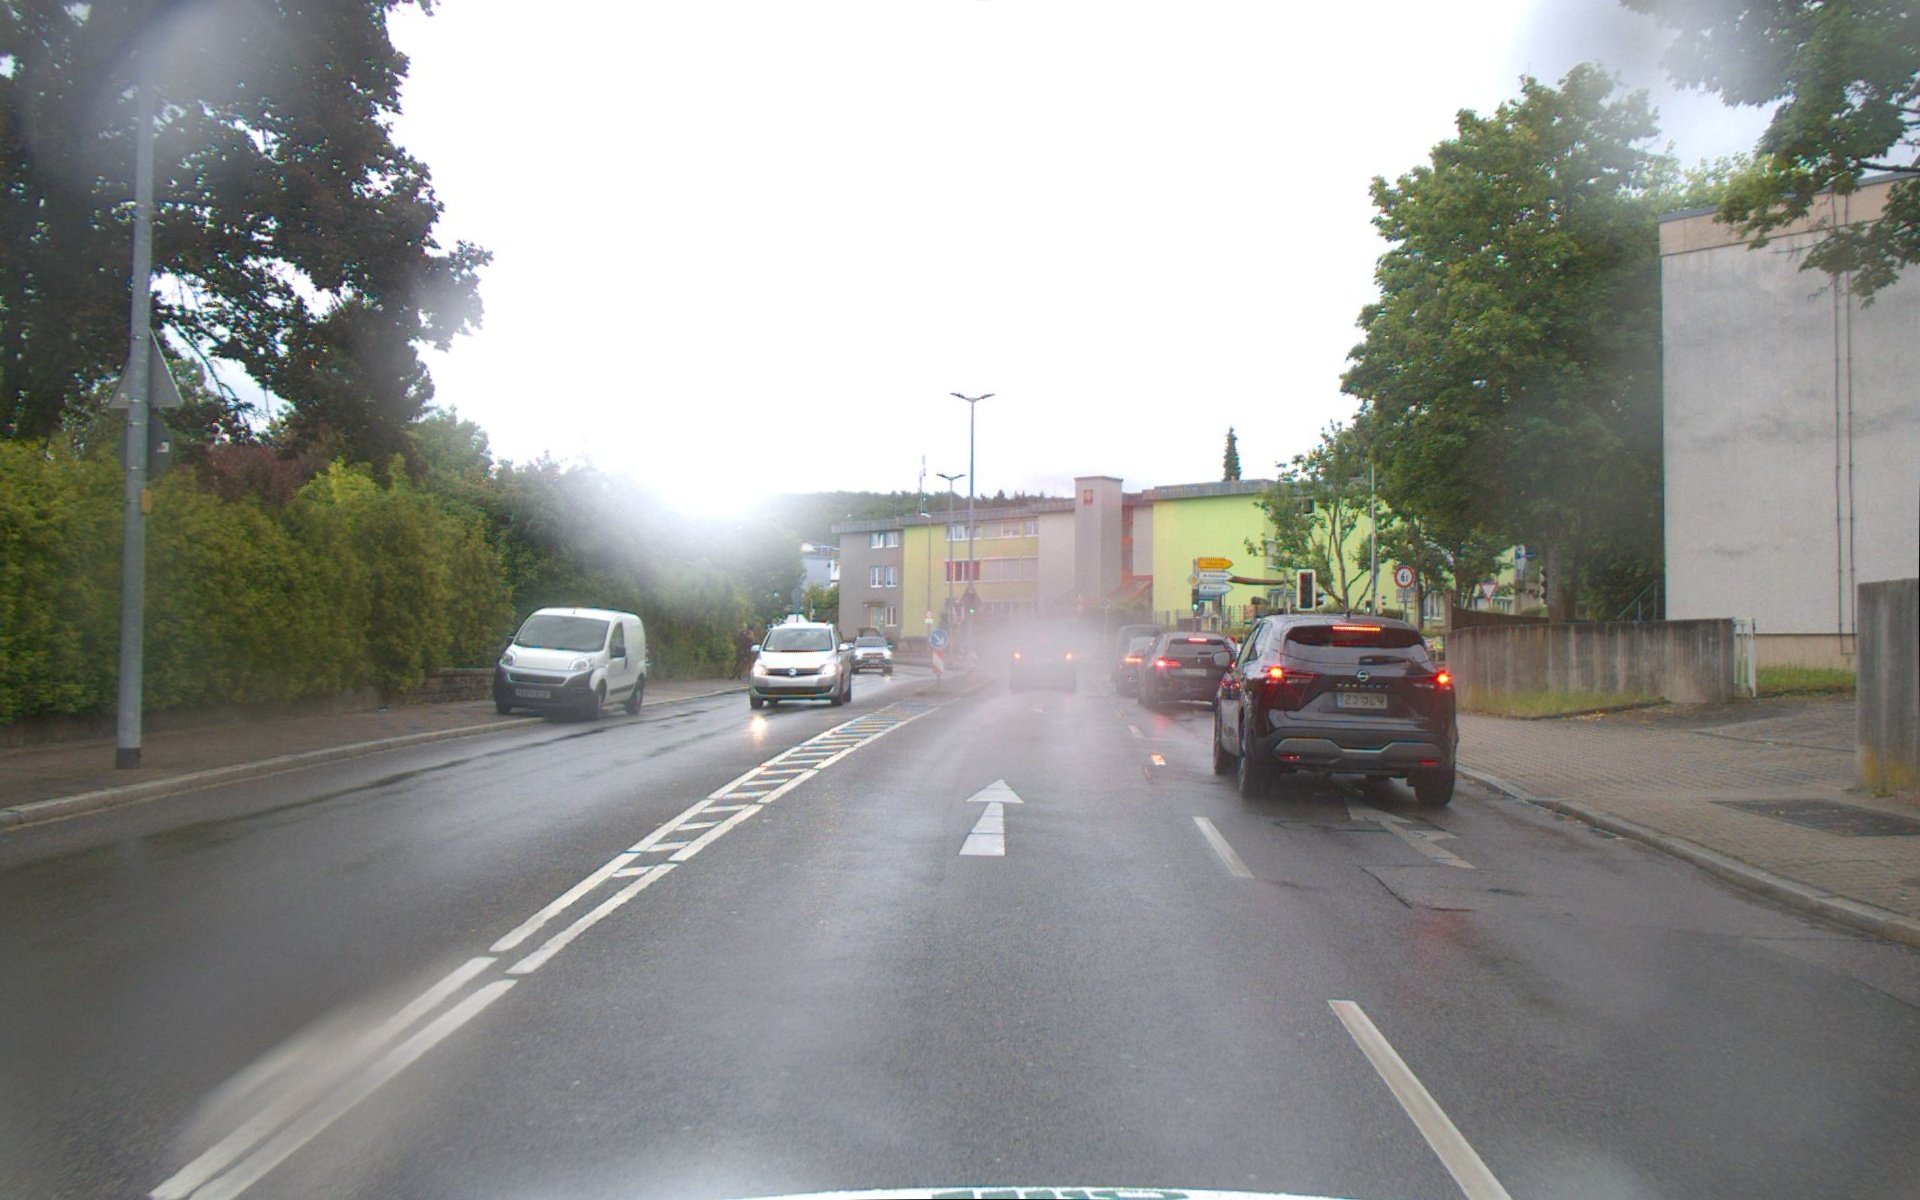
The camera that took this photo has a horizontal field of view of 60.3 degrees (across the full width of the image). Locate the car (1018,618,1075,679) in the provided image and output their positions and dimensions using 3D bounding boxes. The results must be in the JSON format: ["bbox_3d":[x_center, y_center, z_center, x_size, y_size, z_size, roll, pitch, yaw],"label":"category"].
[{"bbox_3d":[2.823,1.551,54.587,1.681,1.877,4.086,2,0,1],"label":"car"}]

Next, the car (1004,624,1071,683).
[{"bbox_3d":[2.146,1.471,46.486,1.648,1.532,3.773,2,-1,0],"label":"car"}]

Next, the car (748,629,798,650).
[{"bbox_3d":[-17.134,3.602,151.226,4.320,1.803,1.993,-2,-2,-14],"label":"car"}]

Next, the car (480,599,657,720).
[{"bbox_3d":[-6.327,0.938,27.191,1.665,1.737,3.980,4,-1,3],"label":"car"}]

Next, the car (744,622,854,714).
[{"bbox_3d":[-3.056,1.266,32.090,1.601,1.607,4.057,-2,-1,1],"label":"car"}]

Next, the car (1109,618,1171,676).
[{"bbox_3d":[6.001,1.536,55.452,1.746,1.764,4.088,2,0,3],"label":"car"}]

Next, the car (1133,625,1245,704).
[{"bbox_3d":[4.580,1.280,33.656,1.865,1.484,4.779,0,-1,3],"label":"car"}]

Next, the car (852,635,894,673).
[{"bbox_3d":[-4.282,2.657,82.152,2.000,1.746,4.479,-1,-1,-2],"label":"car"}]

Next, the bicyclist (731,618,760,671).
[{"bbox_3d":[-6.819,1.422,52.629,0.748,1.640,0.868,1,-2,2],"label":"bicyclist"}]

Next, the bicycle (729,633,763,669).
[{"bbox_3d":[-6.813,1.625,52.725,0.731,1.105,1.989,2,-2,2],"label":"bicycle"}]

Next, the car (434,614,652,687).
[{"bbox_3d":[-9.252,1.116,37.000,4.393,1.386,1.804,2,0,-3],"label":"car"}]

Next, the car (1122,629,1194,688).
[{"bbox_3d":[5.021,1.471,42.377,1.670,1.452,4.510,0,-1,5],"label":"car"}]

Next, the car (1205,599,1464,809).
[{"bbox_3d":[3.355,0.840,15.580,1.752,1.631,4.256,2,0,4],"label":"car"}]

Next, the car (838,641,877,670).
[{"bbox_3d":[-5.929,3.186,95.476,1.956,1.602,3.993,2,-2,-8],"label":"car"}]
